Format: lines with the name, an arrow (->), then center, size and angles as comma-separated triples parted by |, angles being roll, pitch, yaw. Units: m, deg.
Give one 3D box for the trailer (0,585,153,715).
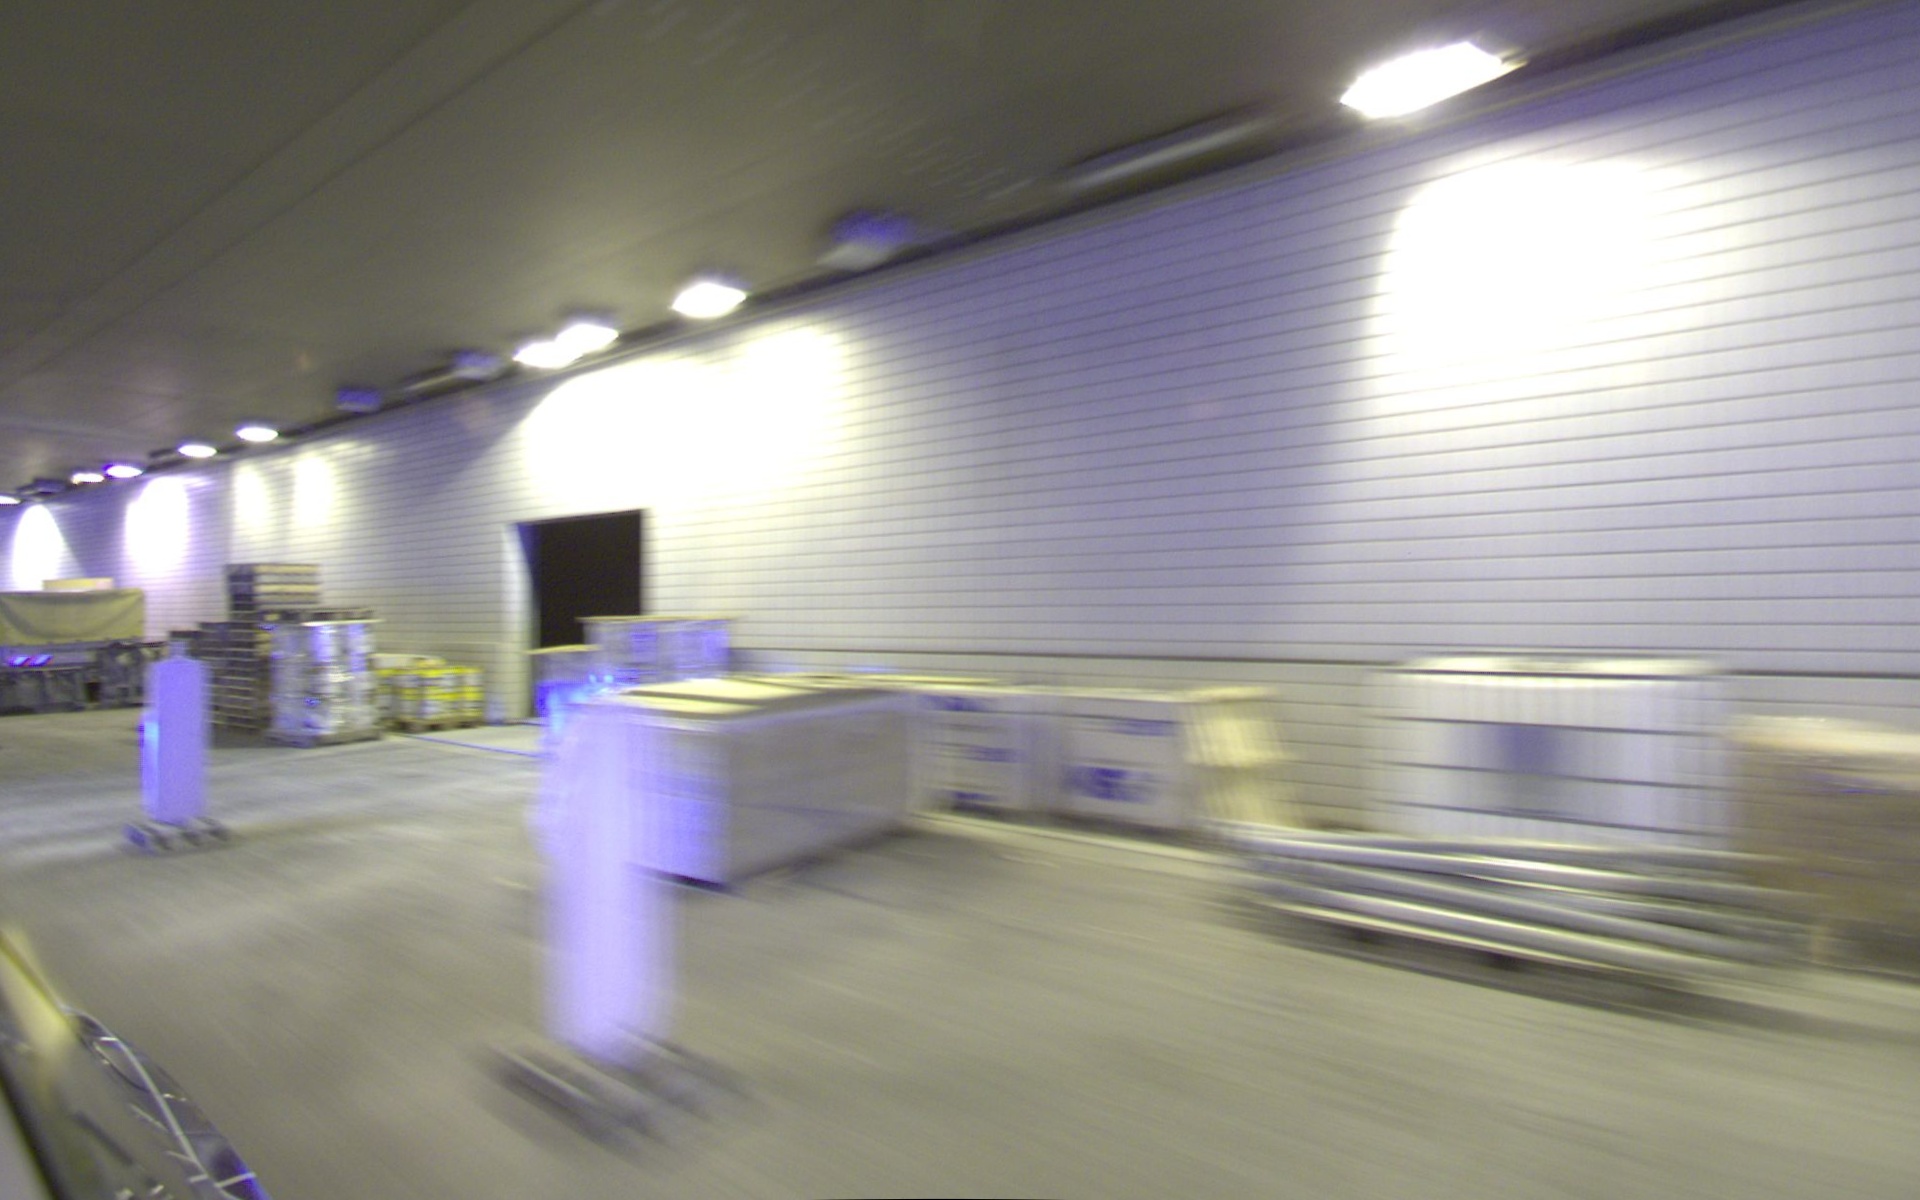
trailer -> -15.970, 0.792, 17.476 | 3.455, 2.029, 2.191 | 0, 0, 32
